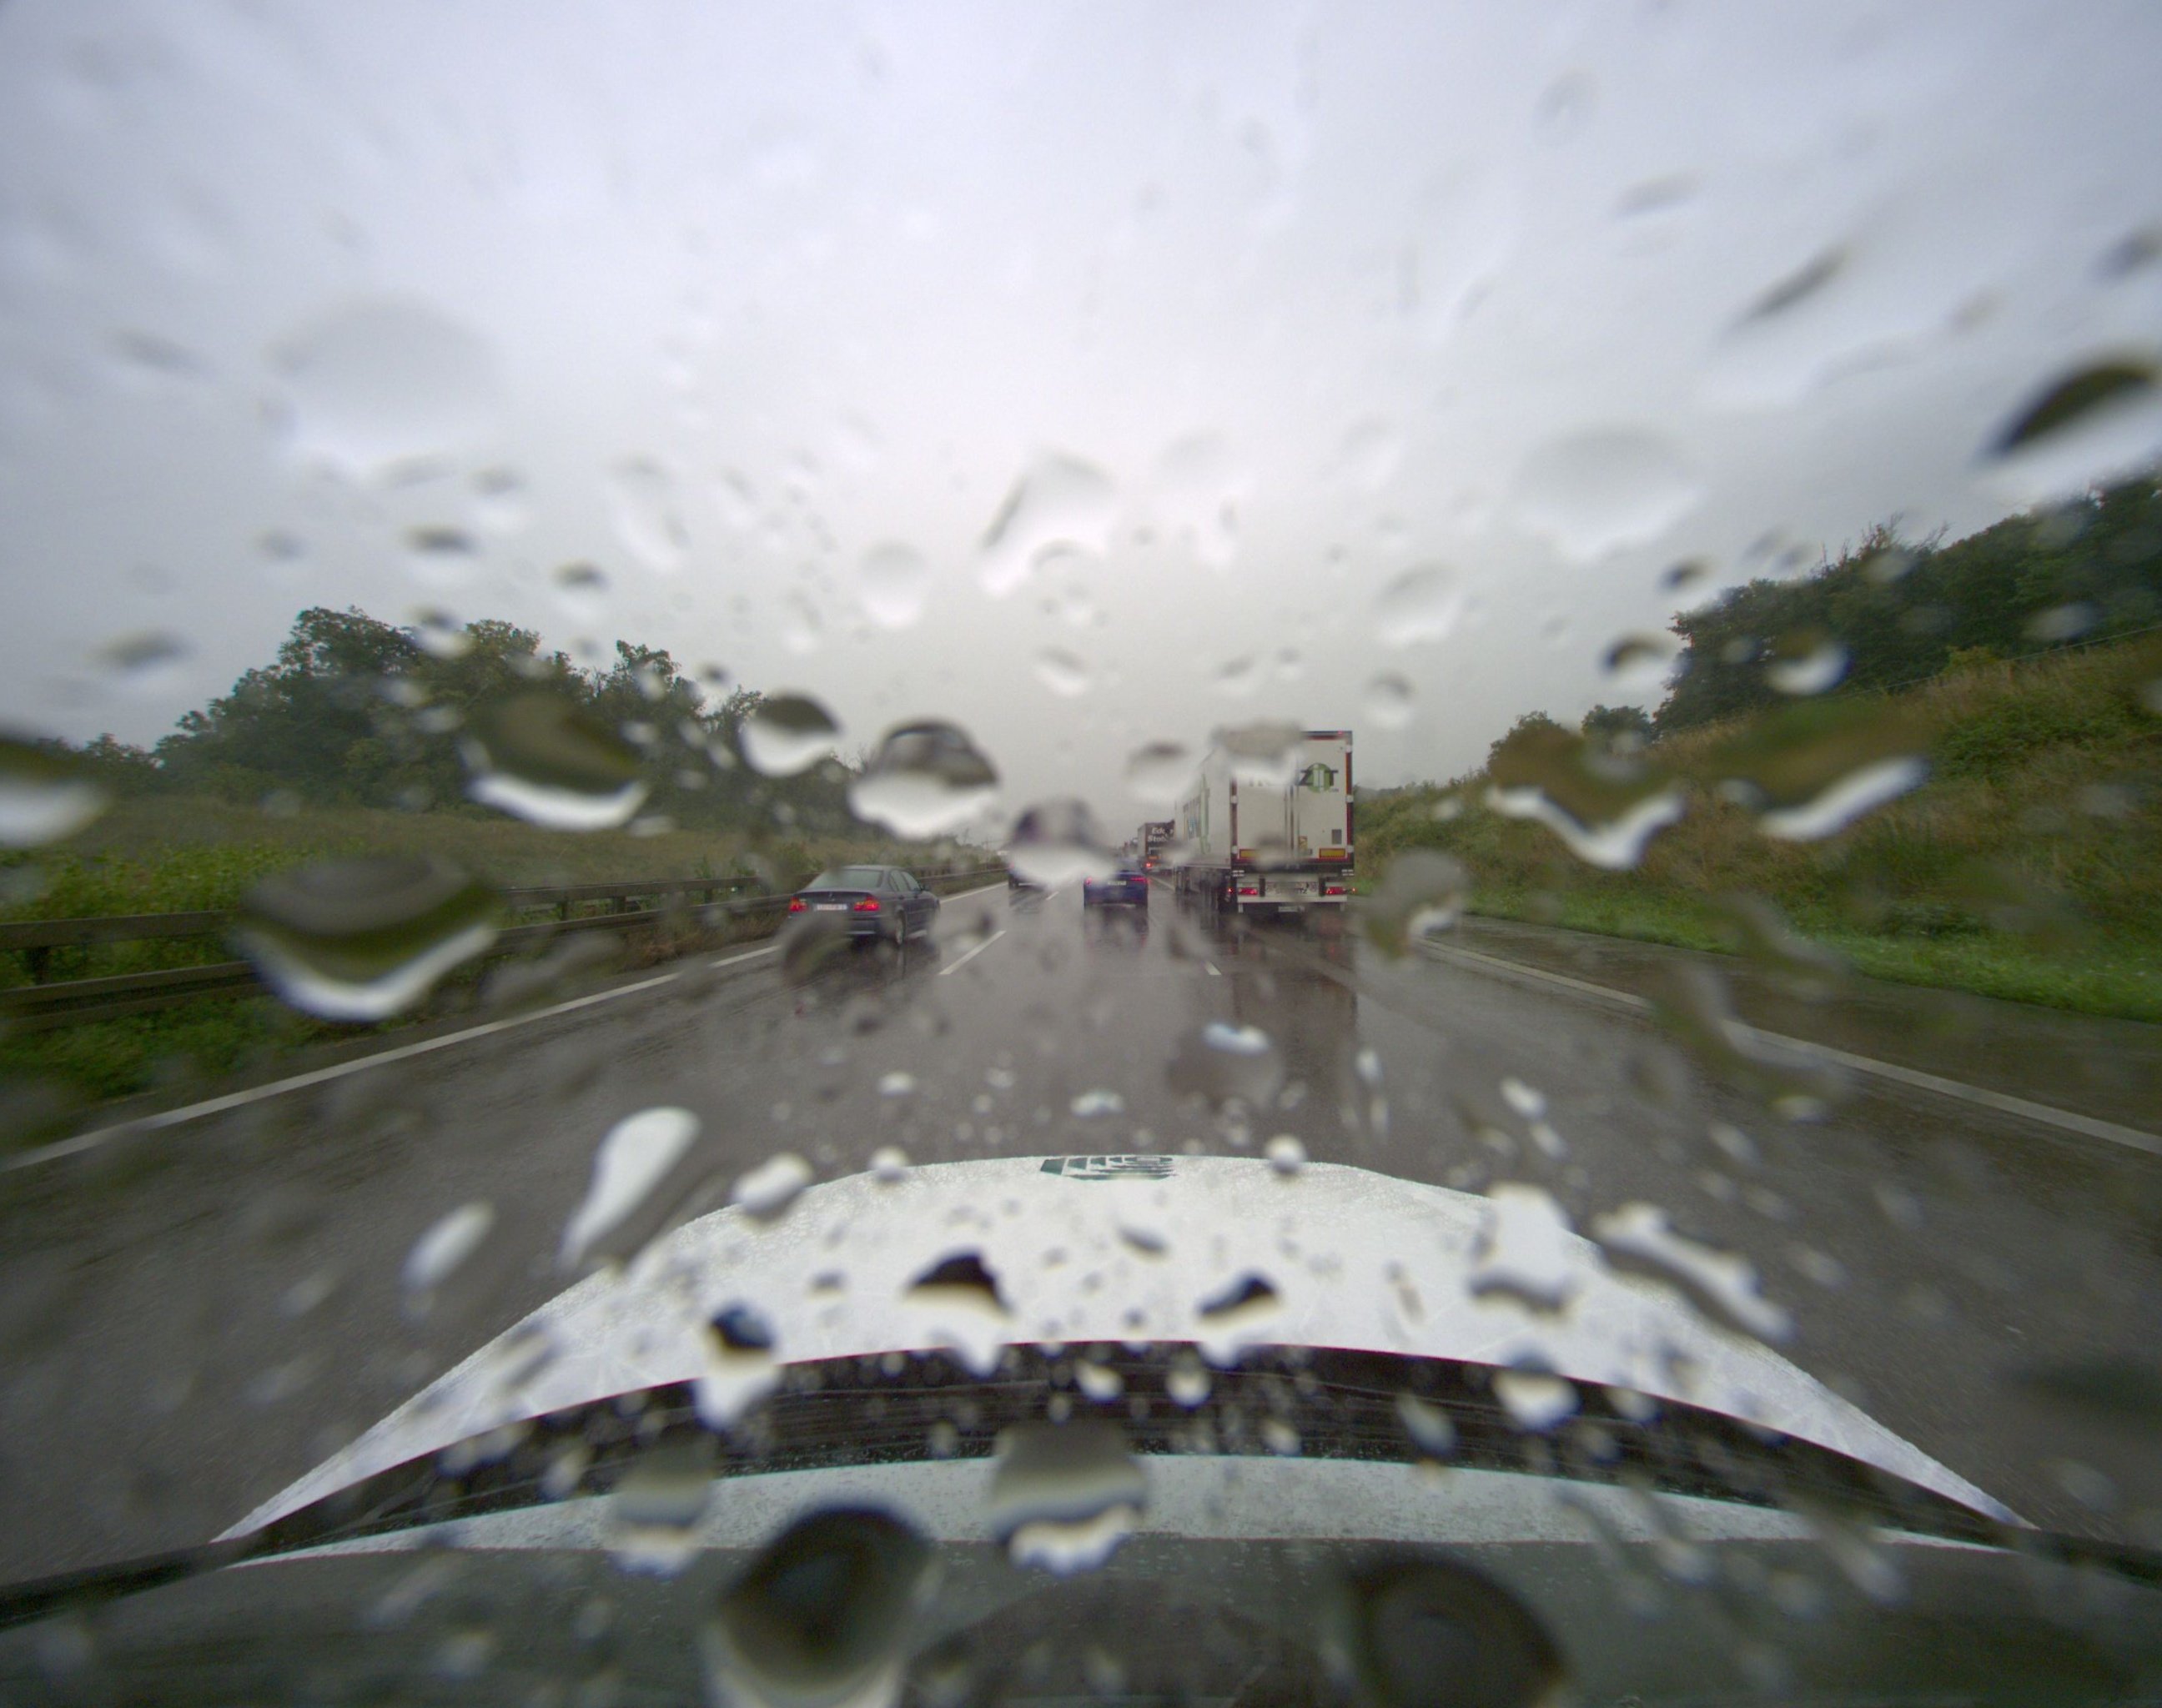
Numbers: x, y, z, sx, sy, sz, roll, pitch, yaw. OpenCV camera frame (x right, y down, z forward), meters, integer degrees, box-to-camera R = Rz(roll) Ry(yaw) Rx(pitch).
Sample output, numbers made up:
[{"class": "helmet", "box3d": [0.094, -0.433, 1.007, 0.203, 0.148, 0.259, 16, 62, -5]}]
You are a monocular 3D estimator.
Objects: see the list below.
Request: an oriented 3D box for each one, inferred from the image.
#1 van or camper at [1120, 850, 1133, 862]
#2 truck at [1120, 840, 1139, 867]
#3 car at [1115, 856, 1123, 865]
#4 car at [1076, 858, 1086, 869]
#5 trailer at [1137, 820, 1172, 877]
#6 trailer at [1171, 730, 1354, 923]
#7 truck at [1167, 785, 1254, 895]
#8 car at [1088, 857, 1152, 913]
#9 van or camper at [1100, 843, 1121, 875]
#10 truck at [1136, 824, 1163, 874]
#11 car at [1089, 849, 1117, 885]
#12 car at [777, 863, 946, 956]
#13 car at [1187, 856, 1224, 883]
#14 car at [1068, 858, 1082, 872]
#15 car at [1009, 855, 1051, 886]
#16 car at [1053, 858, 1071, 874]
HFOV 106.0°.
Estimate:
[{"class": "van or camper", "box3d": [6.577, 0.260, 117.569, 1.765, 1.625, 4.485, -1, 0, 1]}, {"class": "truck", "box3d": [6.366, -0.091, 107.814, 1.987, 3.421, 8.032, -1, 0, 1]}, {"class": "car", "box3d": [7.316, 1.215, 156.550, 1.443, 1.784, 3.410, -1, -1, 2]}, {"class": "car", "box3d": [0.000, 1.484, 127.509, 1.443, 1.784, 3.410, -1, -1, 2]}, {"class": "trailer", "box3d": [5.813, -0.433, 65.658, 2.039, 4.176, 11.452, -1, 0, 2]}, {"class": "trailer", "box3d": [4.605, -0.578, 24.392, 2.620, 4.013, 14.635, -1, 0, 2]}, {"class": "truck", "box3d": [4.820, -0.495, 31.106, 2.621, 3.827, 4.793, -1, 0, 2]}, {"class": "car", "box3d": [1.096, 0.813, 23.173, 1.629, 1.445, 4.002, -1, 0, 2]}, {"class": "van or camper", "box3d": [2.743, 0.435, 75.597, 1.791, 2.806, 4.769, -1, 0, 2]}, {"class": "truck", "box3d": [5.988, -0.427, 71.343, 2.039, 4.193, 4.002, -1, 0, 2]}, {"class": "car", "box3d": [1.143, 0.634, 41.482, 1.332, 1.780, 3.323, -1, 0, 2]}, {"class": "car", "box3d": [-3.777, 0.895, 14.831, 1.711, 1.400, 4.233, -1, 0, 3]}, {"class": "car", "box3d": [6.295, 0.763, 41.378, 1.418, 1.288, 3.462, -1, 0, 2]}, {"class": "car", "box3d": [-0.622, 1.207, 91.565, 1.434, 1.533, 3.323, -1, 0, 2]}, {"class": "car", "box3d": [-2.584, 0.829, 42.068, 1.715, 1.523, 4.003, -1, 0, 3]}, {"class": "car", "box3d": [-1.691, 1.089, 74.073, 1.434, 1.420, 3.323, -1, 0, 2]}]
